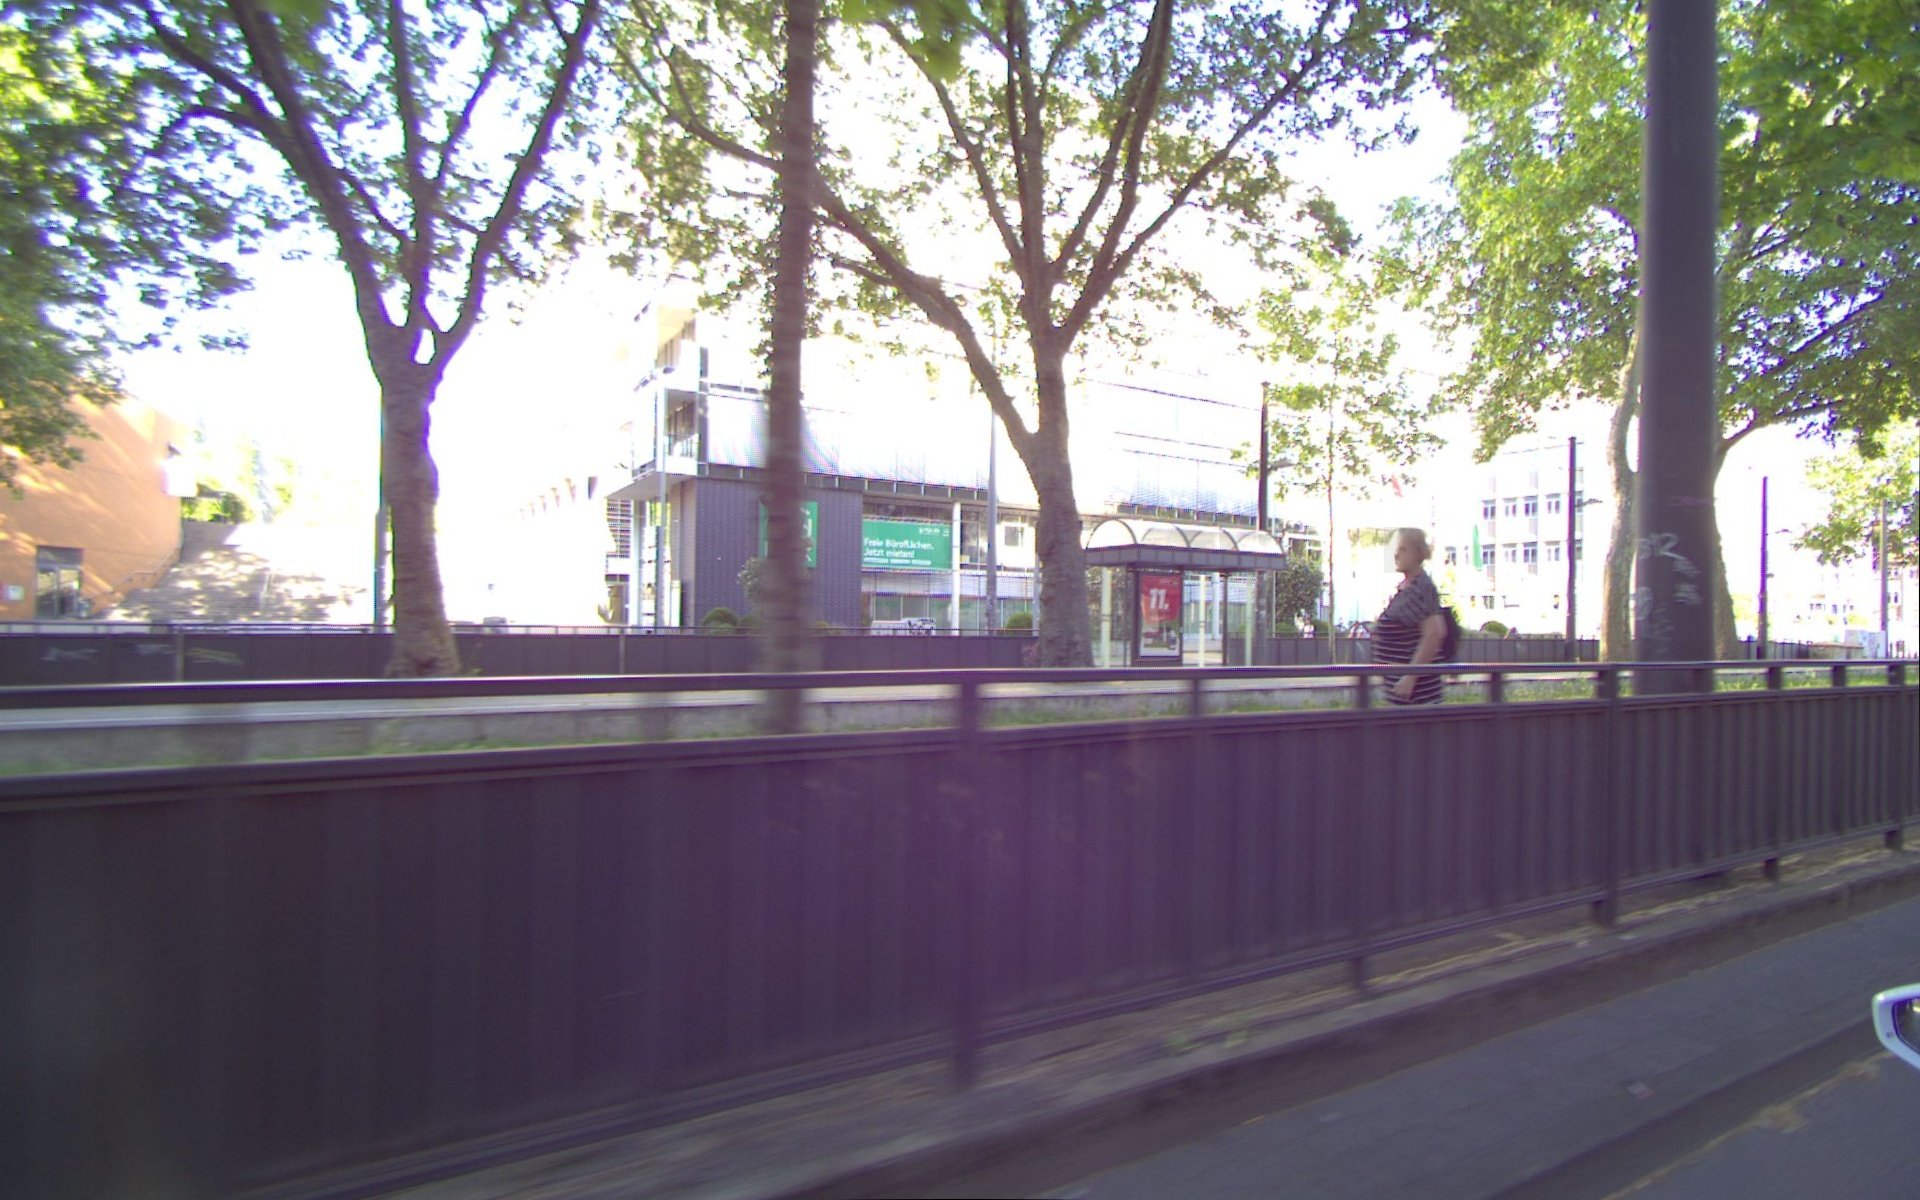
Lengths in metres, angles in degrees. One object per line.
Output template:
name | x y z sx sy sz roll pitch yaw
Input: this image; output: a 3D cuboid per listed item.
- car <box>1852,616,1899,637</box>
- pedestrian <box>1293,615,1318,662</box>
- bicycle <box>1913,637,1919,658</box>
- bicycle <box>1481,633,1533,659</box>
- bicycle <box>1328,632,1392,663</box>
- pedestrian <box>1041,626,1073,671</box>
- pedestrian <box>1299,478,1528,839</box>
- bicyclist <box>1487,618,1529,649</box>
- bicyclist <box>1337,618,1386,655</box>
car | 91.937 2.698 100.864 4.664 2.040 1.986 1 -1 -27
pedestrian | 14.989 1.646 43.557 0.825 2.003 0.602 1 1 -33
bicycle | 43.979 2.148 45.369 1.702 0.958 0.810 1 -1 -26
bicycle | 22.815 1.906 41.854 2.558 1.010 0.795 1 1 -34
bicycle | 14.354 1.687 36.011 2.558 1.010 0.795 1 1 -34
pedestrian | 3.568 1.764 36.950 0.759 1.613 0.901 1 -1 -31
pedestrian | 2.396 0.285 5.335 0.852 1.725 0.726 1 0 -29
bicyclist | 22.824 1.386 41.845 1.360 1.267 0.998 1 1 -33
bicyclist | 14.403 1.288 36.031 1.360 1.267 0.998 1 1 -33
